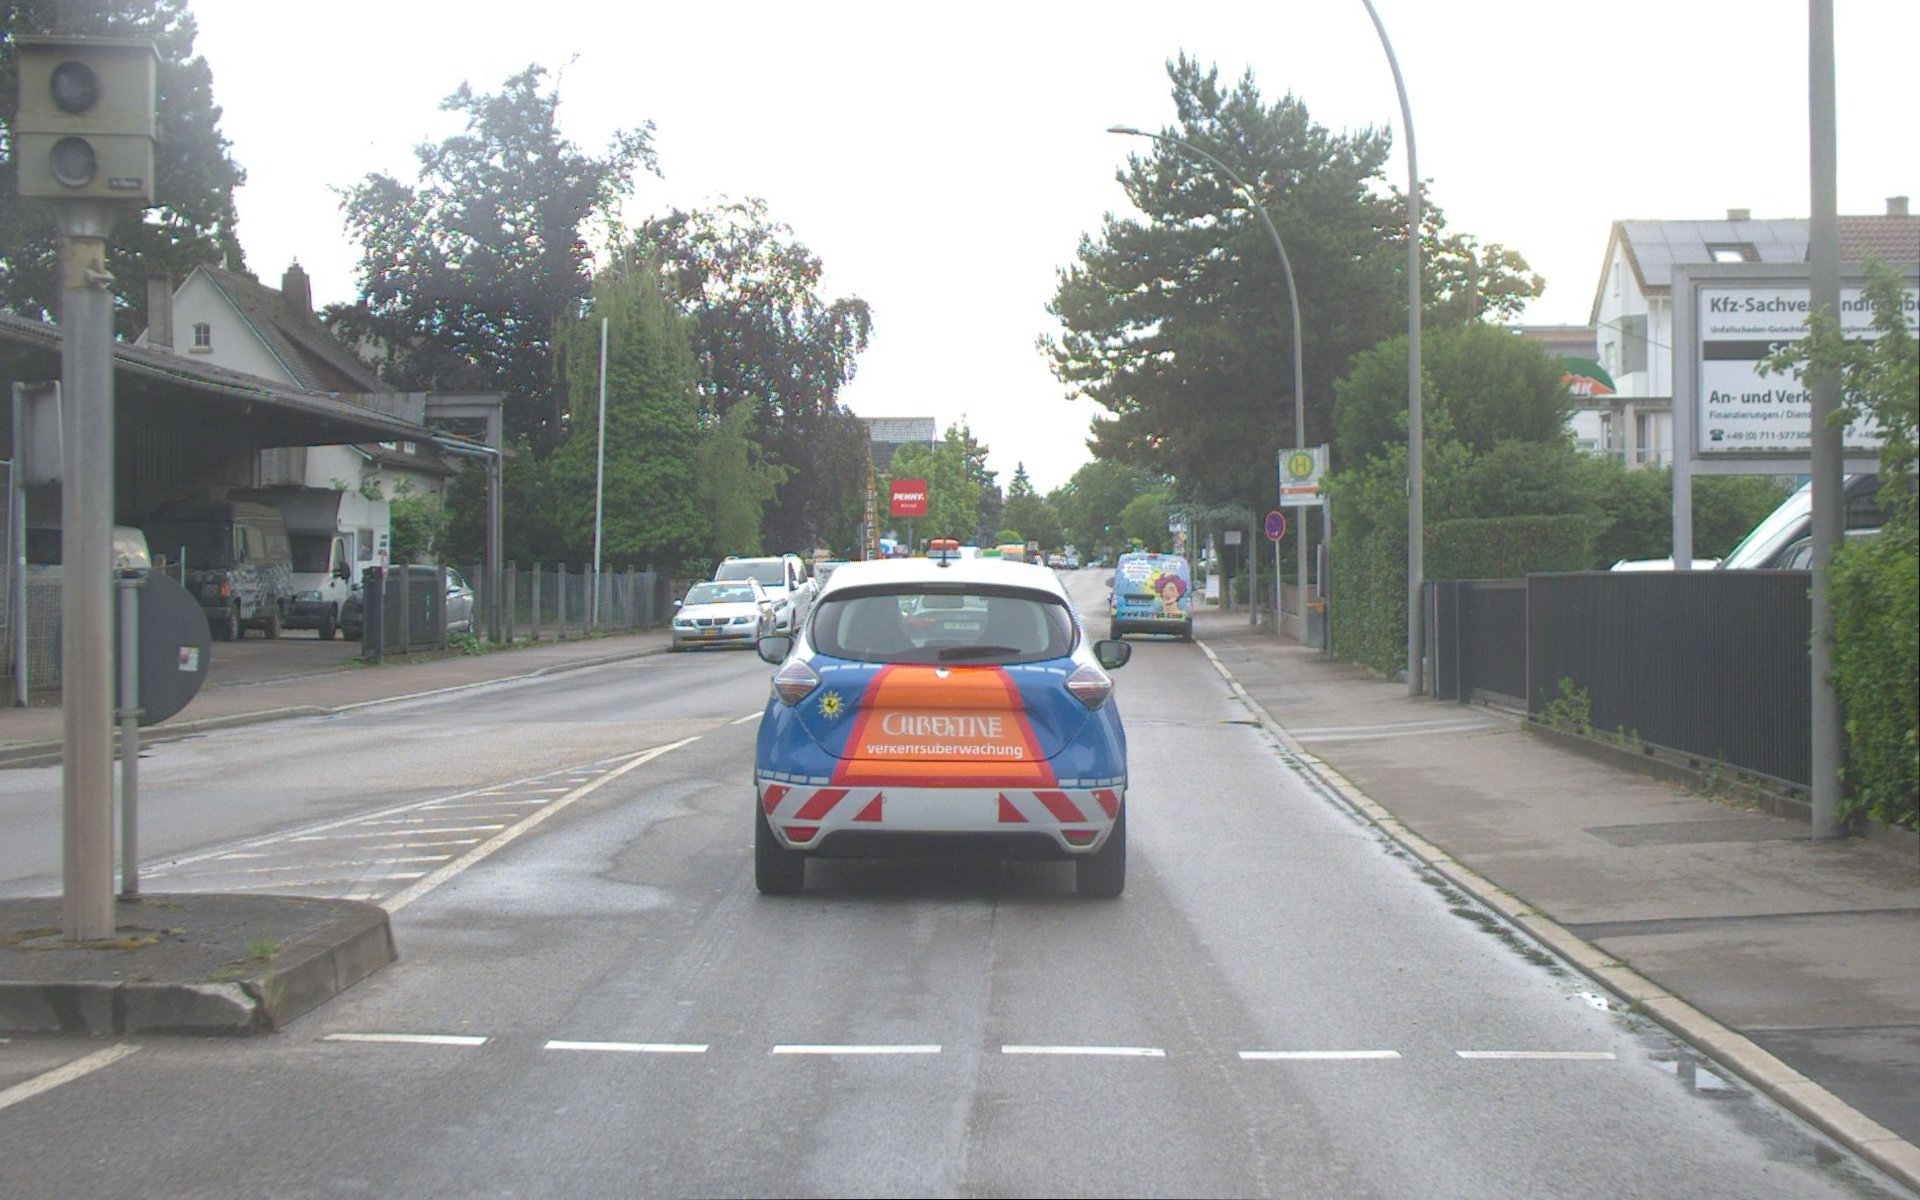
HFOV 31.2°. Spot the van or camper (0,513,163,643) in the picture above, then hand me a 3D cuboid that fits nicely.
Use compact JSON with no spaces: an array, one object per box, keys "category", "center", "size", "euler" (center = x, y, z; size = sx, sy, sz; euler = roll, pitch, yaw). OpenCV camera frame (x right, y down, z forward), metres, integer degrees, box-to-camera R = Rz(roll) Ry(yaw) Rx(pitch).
[{"category":"van or camper","center":[-14.064,-0.342,53.896],"size":[1.993,1.902,4.472],"euler":[2,0,0]}]

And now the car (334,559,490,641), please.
[{"category":"car","center":[-10.227,0.017,64.502],"size":[1.936,1.439,4.781],"euler":[1,0,3]}]

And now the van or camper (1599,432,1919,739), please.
[{"category":"van or camper","center":[8.597,-0.052,29.312],"size":[5.905,2.477,2.131],"euler":[1,-2,3]}]

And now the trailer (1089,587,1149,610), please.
[{"category":"trailer","center":[5.363,-0.064,116.158],"size":[1.938,0.751,2.859],"euler":[0,1,1]}]

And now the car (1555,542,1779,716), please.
[{"category":"car","center":[7.651,0.366,36.828],"size":[2.122,1.645,5.232],"euler":[2,-1,14]}]

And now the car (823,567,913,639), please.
[{"category":"car","center":[-2.048,0.086,77.548],"size":[1.742,1.446,4.542],"euler":[2,-1,1]}]

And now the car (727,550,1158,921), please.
[{"category":"car","center":[-0.058,0.579,17.116],"size":[1.888,1.626,4.000],"euler":[0,1,1]}]

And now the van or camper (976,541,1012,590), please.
[{"category":"van or camper","center":[1.981,-1.986,197.897],"size":[1.993,2.765,5.440],"euler":[0,1,1]}]

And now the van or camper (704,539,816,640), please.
[{"category":"van or camper","center":[-4.377,-0.202,75.925],"size":[1.890,2.007,5.096],"euler":[2,-1,2]}]

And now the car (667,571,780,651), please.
[{"category":"car","center":[-4.742,0.244,69.394],"size":[1.742,1.475,4.183],"euler":[-1,-2,3]}]

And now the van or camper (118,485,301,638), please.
[{"category":"van or camper","center":[-13.197,-0.625,60.751],"size":[1.859,2.429,5.233],"euler":[3,-1,1]}]

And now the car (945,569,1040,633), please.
[{"category":"car","center":[0.796,0.009,81.357],"size":[1.994,1.415,4.000],"euler":[-1,1,4]}]

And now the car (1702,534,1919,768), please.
[{"category":"car","center":[6.693,0.425,25.636],"size":[1.662,1.561,4.565],"euler":[2,-1,5]}]

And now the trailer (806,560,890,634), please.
[{"category":"trailer","center":[-3.330,-0.054,103.082],"size":[2.220,2.007,4.436],"euler":[2,-1,1]}]

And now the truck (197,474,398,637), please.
[{"category":"truck","center":[-12.721,-0.790,66.458],"size":[2.394,2.917,5.956],"euler":[2,0,2]}]

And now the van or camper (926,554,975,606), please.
[{"category":"van or camper","center":[-0.423,-0.947,157.601],"size":[2.161,2.345,4.333],"euler":[0,1,1]}]

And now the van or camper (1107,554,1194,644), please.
[{"category":"van or camper","center":[4.079,-0.045,74.216],"size":[1.754,1.876,4.000],"euler":[0,1,1]}]
